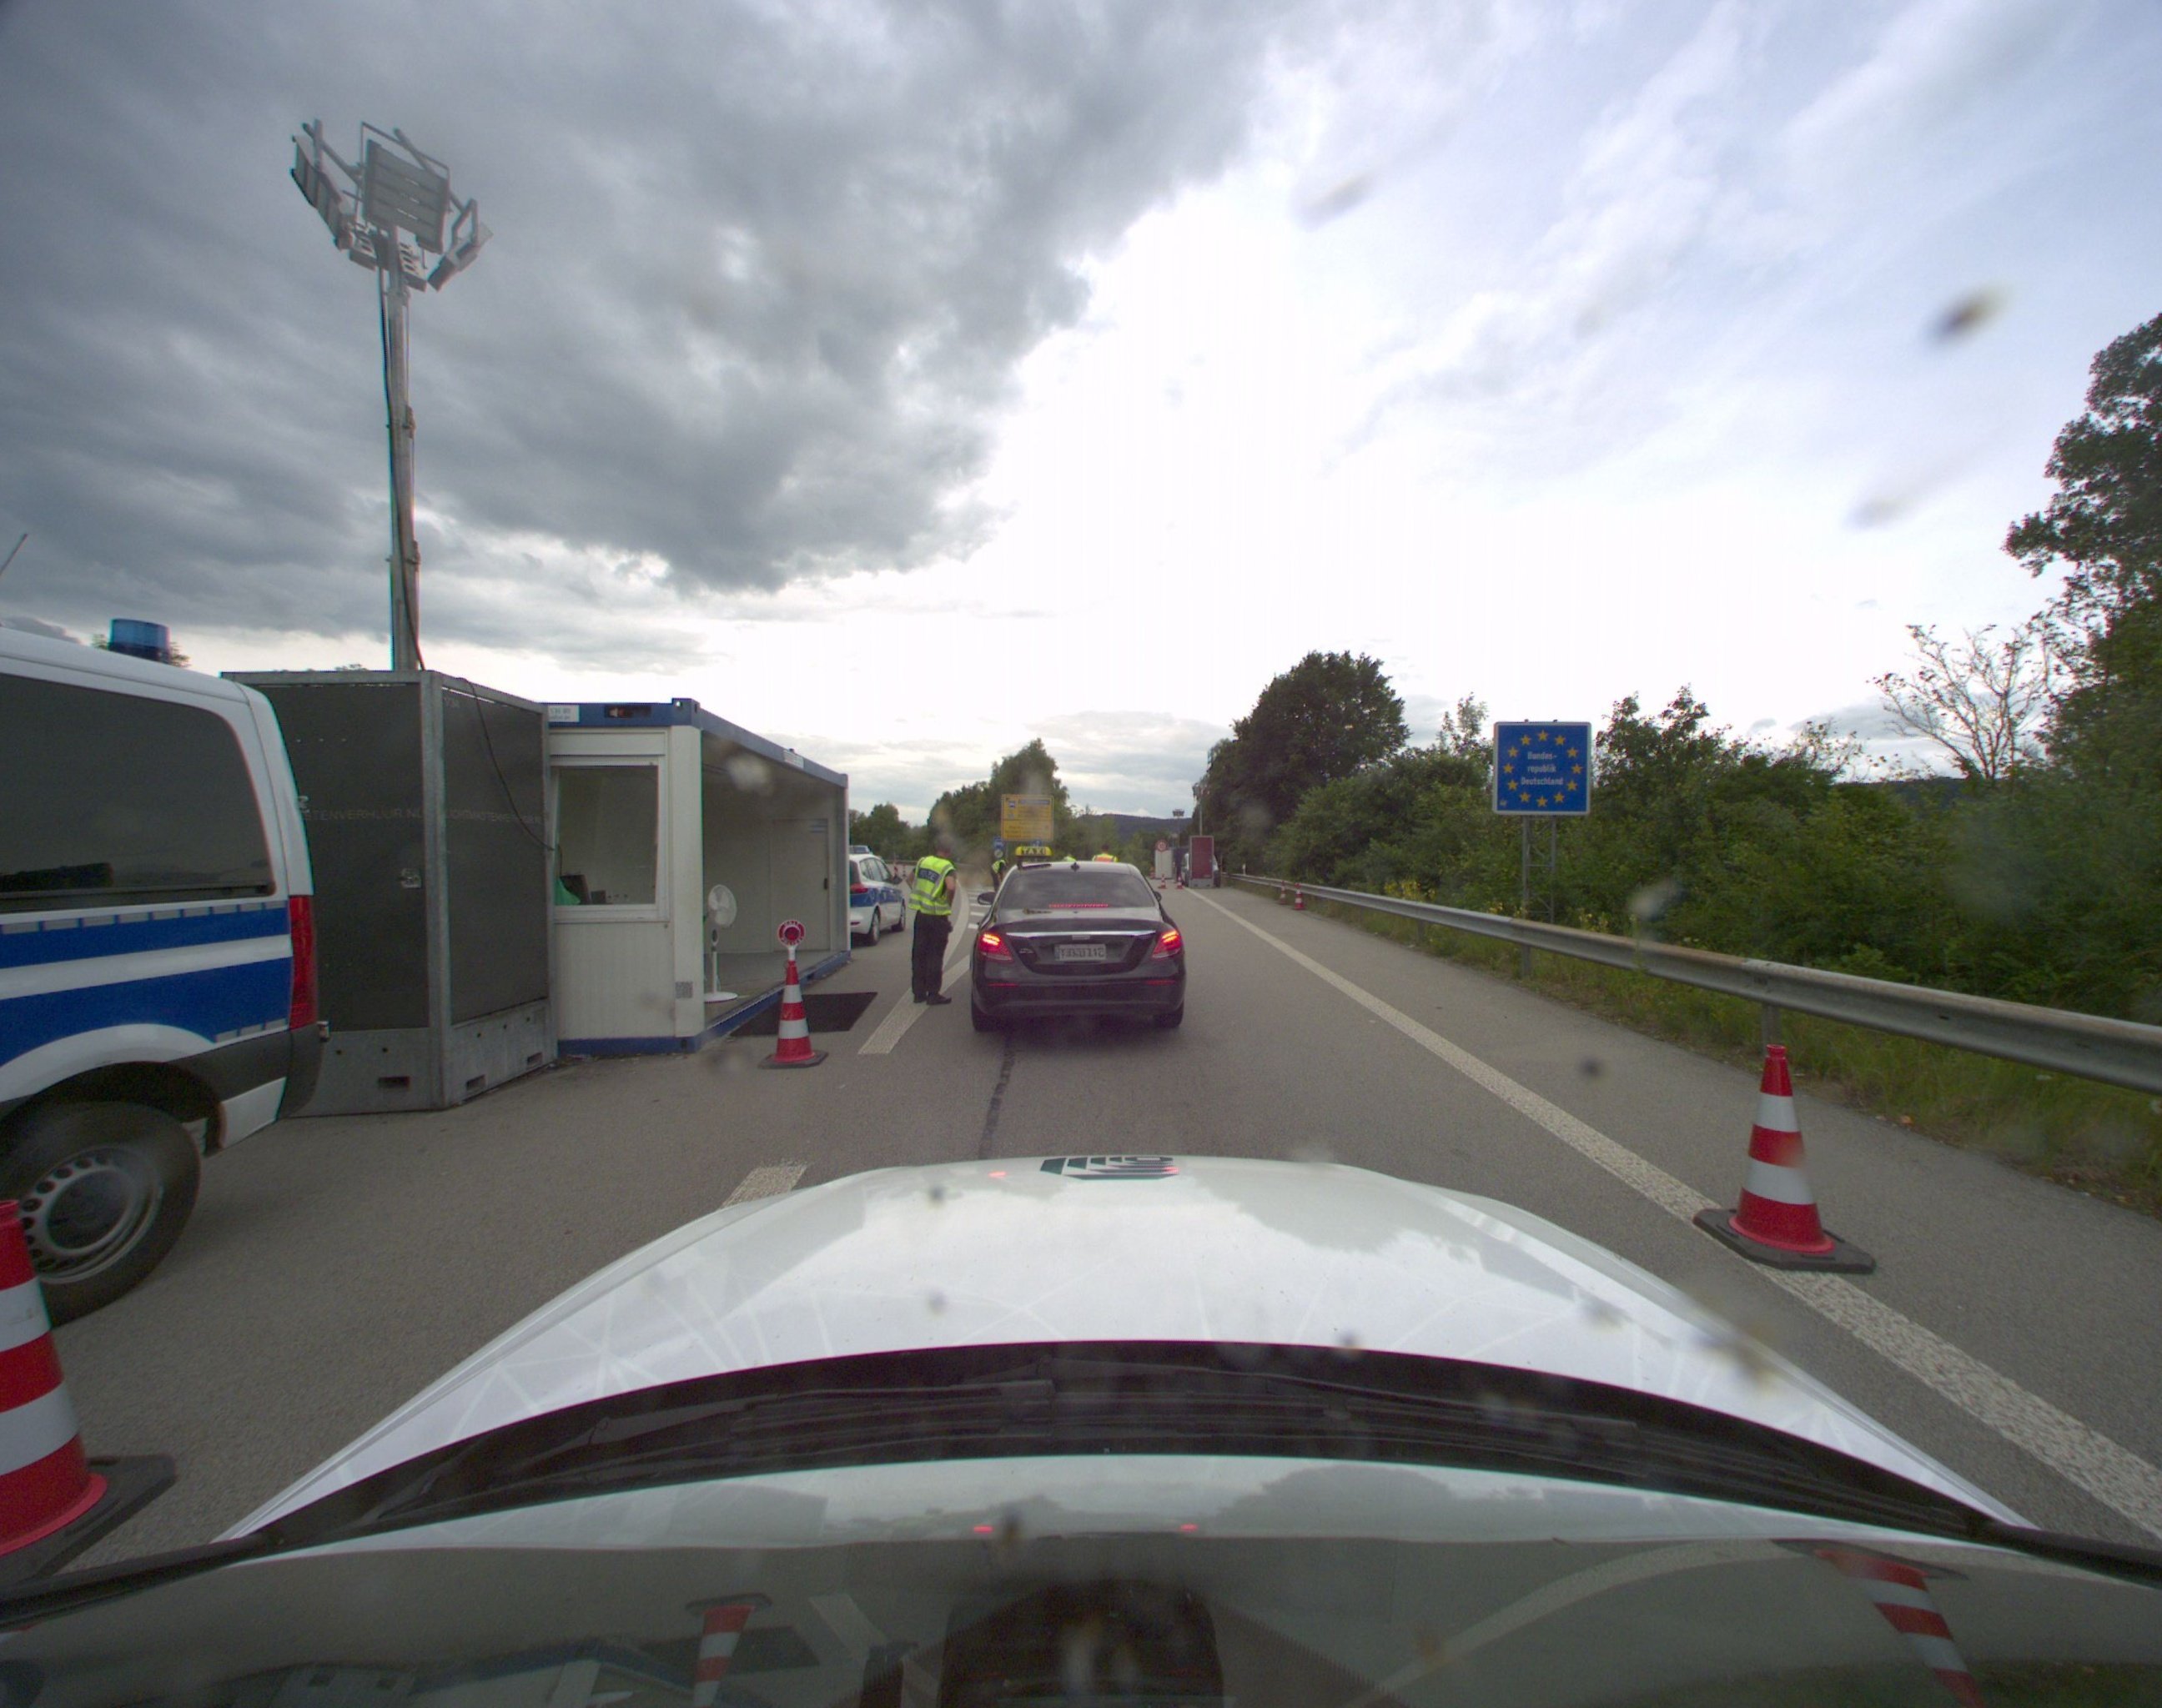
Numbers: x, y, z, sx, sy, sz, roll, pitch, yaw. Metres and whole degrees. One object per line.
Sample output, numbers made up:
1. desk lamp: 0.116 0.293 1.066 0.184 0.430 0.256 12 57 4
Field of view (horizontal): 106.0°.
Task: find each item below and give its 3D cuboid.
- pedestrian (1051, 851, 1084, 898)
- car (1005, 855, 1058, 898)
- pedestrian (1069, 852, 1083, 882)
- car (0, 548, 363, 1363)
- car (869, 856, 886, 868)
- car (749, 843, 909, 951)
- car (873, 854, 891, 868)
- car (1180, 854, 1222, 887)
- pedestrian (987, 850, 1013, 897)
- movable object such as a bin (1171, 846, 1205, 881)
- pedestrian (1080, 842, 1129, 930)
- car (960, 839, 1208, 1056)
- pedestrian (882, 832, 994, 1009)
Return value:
1. pedestrian: -0.496 0.751 30.192 0.914 1.698 0.905 0 -1 -30
2. car: -1.827 0.819 31.218 1.850 1.498 4.254 -1 0 -1
3. pedestrian: -0.322 0.856 54.557 0.659 1.961 0.763 -1 -1 17
4. car: -4.248 0.311 1.062 2.023 2.463 5.276 -1 0 -2
5. car: -26.603 1.066 106.575 1.860 1.498 4.230 -1 0 -18
6. car: -4.553 0.700 15.369 1.864 1.743 4.005 -1 0 -2
7. car: -22.110 0.797 90.643 1.857 1.498 4.238 -1 0 -13
8. car: 6.720 0.883 46.044 1.908 1.678 5.087 1 0 3
9. pedestrian: -3.076 0.733 31.154 0.908 1.769 0.911 -1 0 -1
10. movable object such as a bin: 7.151 0.608 54.886 1.984 2.280 4.172 -1 0 4
11. pedestrian: 0.516 0.674 17.447 0.806 1.830 0.813 -1 -1 18
12. car: -0.074 0.700 8.311 1.851 1.595 4.370 -1 0 -3
13. pedestrian: -1.480 0.649 8.468 0.752 1.718 0.823 -2 -1 39
